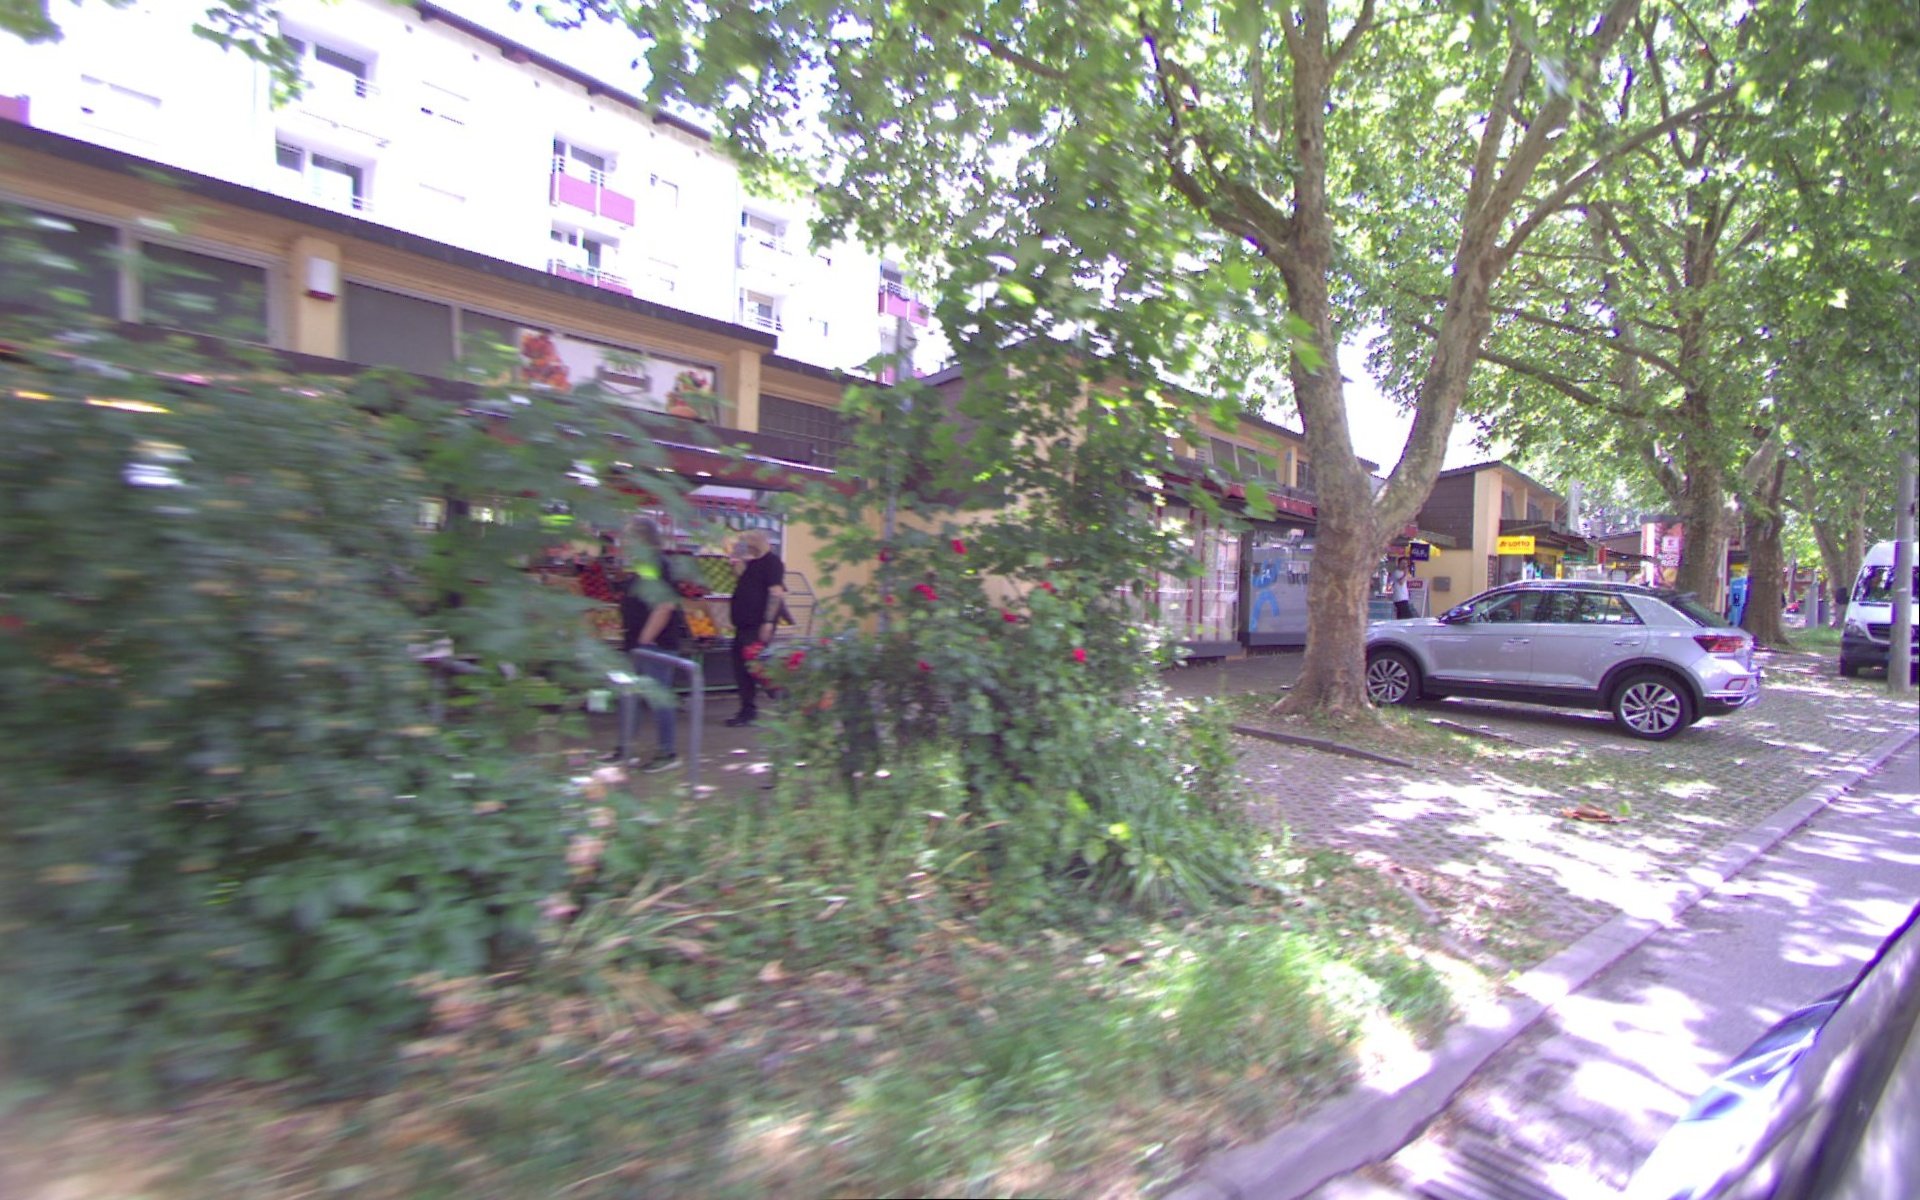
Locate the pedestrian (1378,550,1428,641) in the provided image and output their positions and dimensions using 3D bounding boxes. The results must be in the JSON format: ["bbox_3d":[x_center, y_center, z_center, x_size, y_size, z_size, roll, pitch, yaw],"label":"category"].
[{"bbox_3d":[9.138,-0.117,20.887,0.595,1.823,0.926,1,2,3],"label":"pedestrian"}]

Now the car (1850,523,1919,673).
[{"bbox_3d":[19.363,-0.044,19.860,6.715,2.612,1.908,0,3,-41],"label":"car"}]

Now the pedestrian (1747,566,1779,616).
[{"bbox_3d":[31.736,-0.371,39.996,0.925,1.906,0.745,0,4,-42],"label":"pedestrian"}]

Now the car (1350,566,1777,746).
[{"bbox_3d":[6.618,0.472,11.356,3.830,1.581,1.595,4,3,43],"label":"car"}]

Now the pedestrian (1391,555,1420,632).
[{"bbox_3d":[10.690,-0.163,24.287,0.516,1.816,0.527,1,1,39],"label":"pedestrian"}]

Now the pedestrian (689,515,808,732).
[{"bbox_3d":[-1.808,0.168,8.628,0.648,1.746,0.759,0,2,-45],"label":"pedestrian"}]

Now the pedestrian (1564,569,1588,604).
[{"bbox_3d":[28.003,-0.611,45.975,0.749,1.554,0.894,2,1,42],"label":"pedestrian"}]

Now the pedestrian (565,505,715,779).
[{"bbox_3d":[-2.137,0.251,6.761,0.758,1.697,0.625,0,1,-41],"label":"pedestrian"}]

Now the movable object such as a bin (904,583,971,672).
[{"bbox_3d":[-0.287,0.339,13.062,0.518,1.081,0.699,3,2,39],"label":"movable object such as a bin"}]

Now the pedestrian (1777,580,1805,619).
[{"bbox_3d":[31.718,-0.036,38.622,1.011,1.465,0.626,0,1,-41],"label":"pedestrian"}]

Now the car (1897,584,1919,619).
[{"bbox_3d":[43.166,0.108,44.050,1.584,1.533,3.409,0,1,-45],"label":"car"}]

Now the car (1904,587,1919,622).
[{"bbox_3d":[46.544,0.268,46.761,1.699,1.631,4.041,0,1,-37],"label":"car"}]
